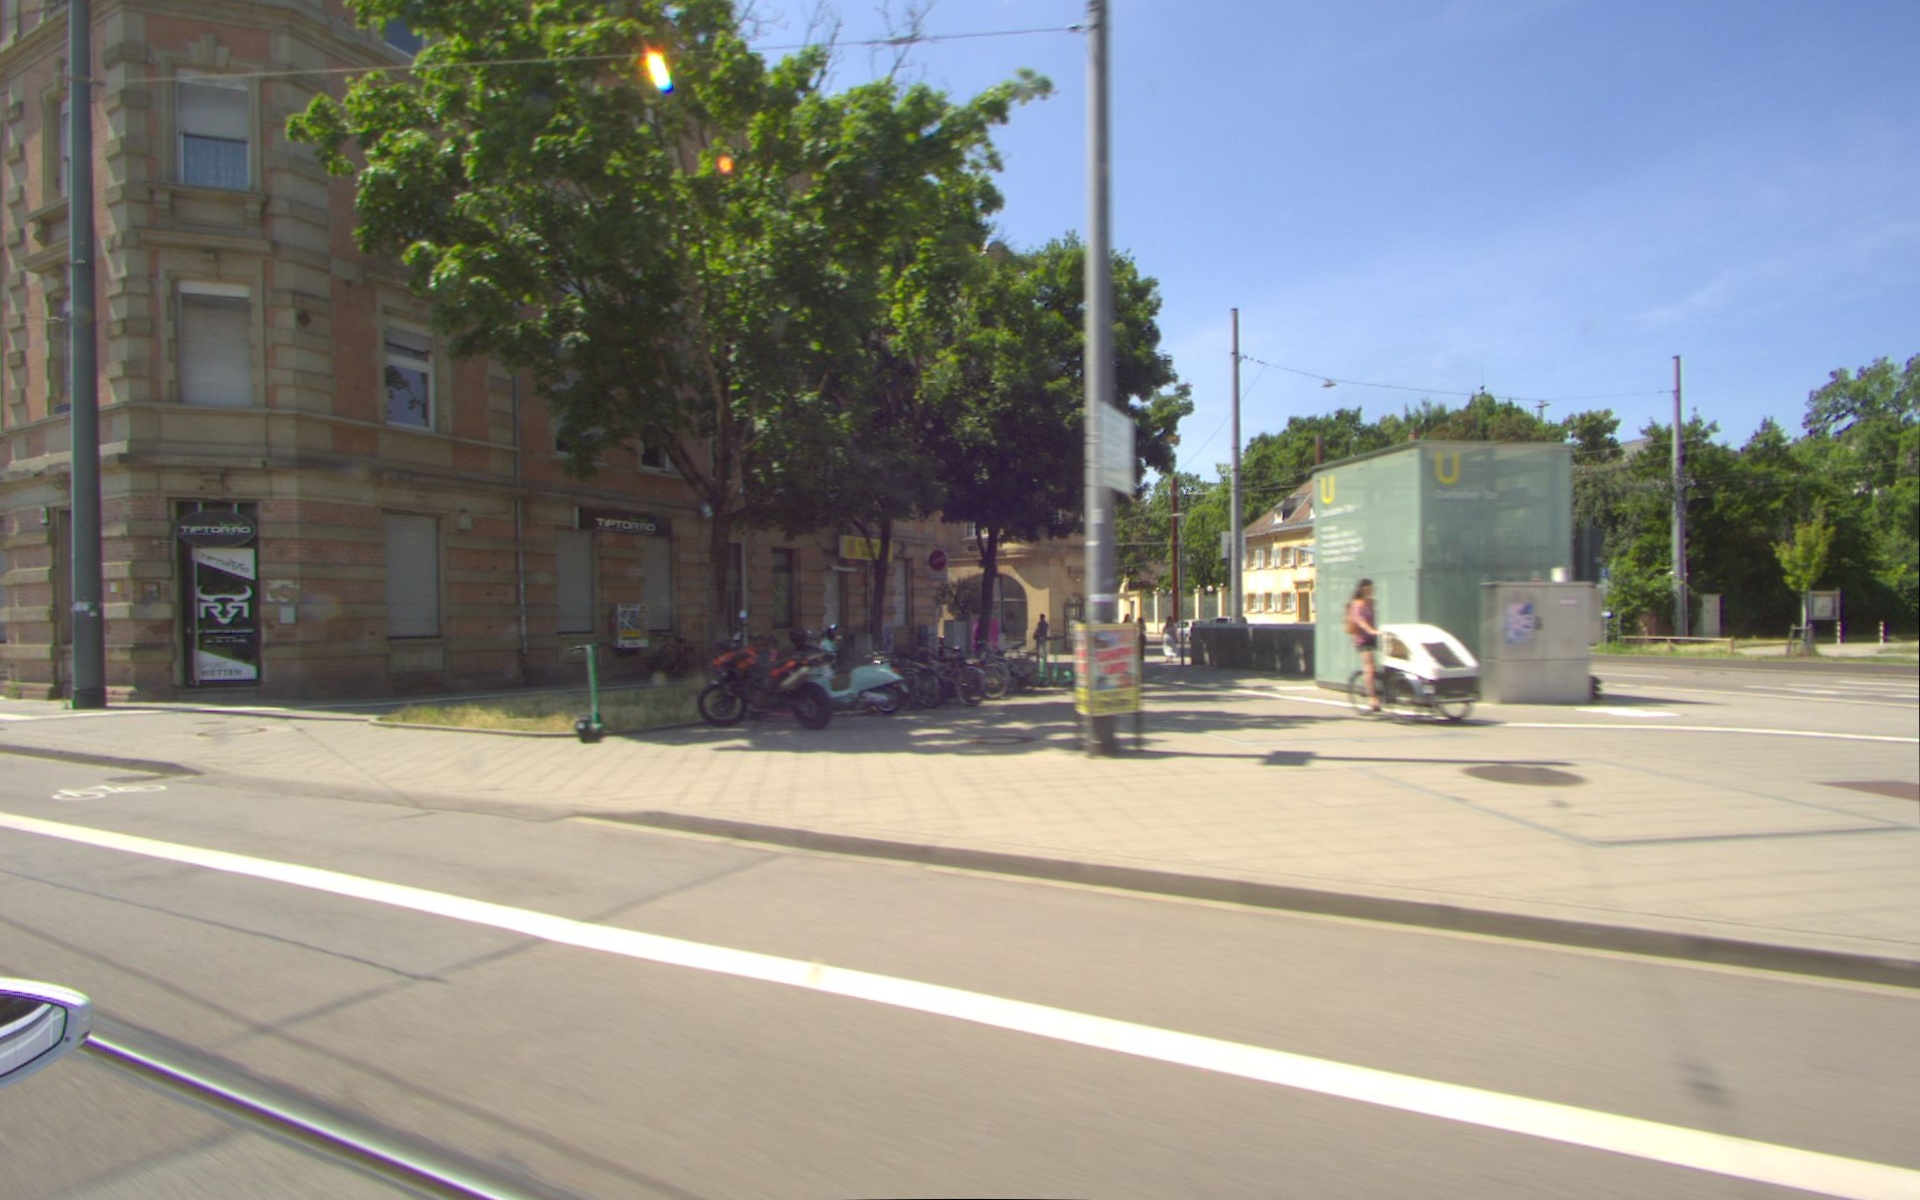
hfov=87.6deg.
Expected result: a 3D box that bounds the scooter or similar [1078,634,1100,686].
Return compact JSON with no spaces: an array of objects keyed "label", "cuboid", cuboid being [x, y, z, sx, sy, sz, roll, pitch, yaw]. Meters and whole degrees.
[{"label":"scooter or similar","cuboid":[2.939,1.357,22.857,0.263,1.140,0.987,0,0,-6]}]

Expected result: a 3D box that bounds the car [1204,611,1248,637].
[{"label":"car","cuboid":[19.100,1.730,71.982,1.611,1.806,3.478,0,-1,-12]}]

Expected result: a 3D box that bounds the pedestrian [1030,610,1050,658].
[{"label":"pedestrian","cuboid":[2.913,1.235,36.444,0.603,1.721,0.585,0,0,-13]}]

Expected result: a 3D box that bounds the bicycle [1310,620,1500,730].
[{"label":"bicycle","cuboid":[5.638,0.904,12.886,1.080,1.267,2.218,0,-1,-16]}]

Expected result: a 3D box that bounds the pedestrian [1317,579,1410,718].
[{"label":"pedestrian","cuboid":[5.428,0.632,13.491,0.800,1.798,0.823,-1,-1,-16]}]

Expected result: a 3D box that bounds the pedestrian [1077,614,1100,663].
[{"label":"pedestrian","cuboid":[4.204,1.255,32.842,0.603,1.617,0.601,0,0,-12]}]

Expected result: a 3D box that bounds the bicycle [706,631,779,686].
[{"label":"bicycle","cuboid":[-4.978,1.321,23.035,0.702,1.193,1.877,0,-1,21]}]

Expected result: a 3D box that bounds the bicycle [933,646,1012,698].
[{"label":"bicycle","cuboid":[0.231,1.317,18.592,1.405,0.917,0.455,0,0,24]}]

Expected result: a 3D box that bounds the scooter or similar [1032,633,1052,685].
[{"label":"scooter or similar","cuboid":[1.859,1.325,22.709,0.263,1.140,0.987,0,0,-6]}]

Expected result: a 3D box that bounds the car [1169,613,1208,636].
[{"label":"car","cuboid":[17.593,1.870,77.287,1.611,1.689,3.478,0,-1,-12]}]

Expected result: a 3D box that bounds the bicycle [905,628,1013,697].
[{"label":"bicycle","cuboid":[-0.020,1.074,17.702,1.808,1.161,0.645,0,0,24]}]

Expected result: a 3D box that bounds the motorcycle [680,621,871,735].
[{"label":"motorcycle","cuboid":[-2.438,0.978,13.080,2.556,1.380,0.763,-1,-1,29]}]

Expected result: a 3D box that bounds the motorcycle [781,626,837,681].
[{"label":"motorcycle","cuboid":[-3.684,1.290,24.606,0.495,1.307,1.639,0,0,27]}]

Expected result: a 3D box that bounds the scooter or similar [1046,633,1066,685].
[{"label":"scooter or similar","cuboid":[2.167,1.330,22.732,0.263,1.140,0.987,0,0,-6]}]

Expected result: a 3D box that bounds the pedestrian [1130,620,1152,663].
[{"label":"pedestrian","cuboid":[6.173,1.404,34.188,0.575,1.462,0.614,0,0,-11]}]

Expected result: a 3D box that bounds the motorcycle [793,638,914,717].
[{"label":"motorcycle","cuboid":[-1.616,1.144,15.099,1.721,1.111,0.690,-1,-1,29]}]

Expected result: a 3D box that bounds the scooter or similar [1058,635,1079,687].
[{"label":"scooter or similar","cuboid":[2.466,1.370,22.812,0.263,1.140,0.987,0,0,-6]}]

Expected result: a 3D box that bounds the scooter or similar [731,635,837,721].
[{"label":"scooter or similar","cuboid":[-2.504,1.104,14.284,1.355,1.167,0.601,-2,0,19]}]

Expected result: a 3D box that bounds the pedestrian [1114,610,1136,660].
[{"label":"pedestrian","cuboid":[5.741,1.227,34.846,0.603,1.721,0.585,0,0,-12]}]

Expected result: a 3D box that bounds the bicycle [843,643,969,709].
[{"label":"bicycle","cuboid":[-0.898,1.218,16.388,2.050,0.978,0.644,-1,0,29]}]

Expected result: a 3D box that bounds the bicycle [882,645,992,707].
[{"label":"bicycle","cuboid":[-0.398,1.265,16.995,1.812,0.978,0.644,-1,0,31]}]

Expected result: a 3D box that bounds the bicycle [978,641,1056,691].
[{"label":"bicycle","cuboid":[1.188,1.366,20.826,1.540,1.005,0.503,0,0,14]}]

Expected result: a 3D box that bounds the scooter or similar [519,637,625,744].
[{"label":"scooter or similar","cuboid":[-4.665,1.057,12.136,0.701,1.170,1.525,0,0,0]}]

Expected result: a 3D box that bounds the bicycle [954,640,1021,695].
[{"label":"bicycle","cuboid":[0.530,1.310,19.742,0.452,1.005,1.415,0,0,-44]}]
